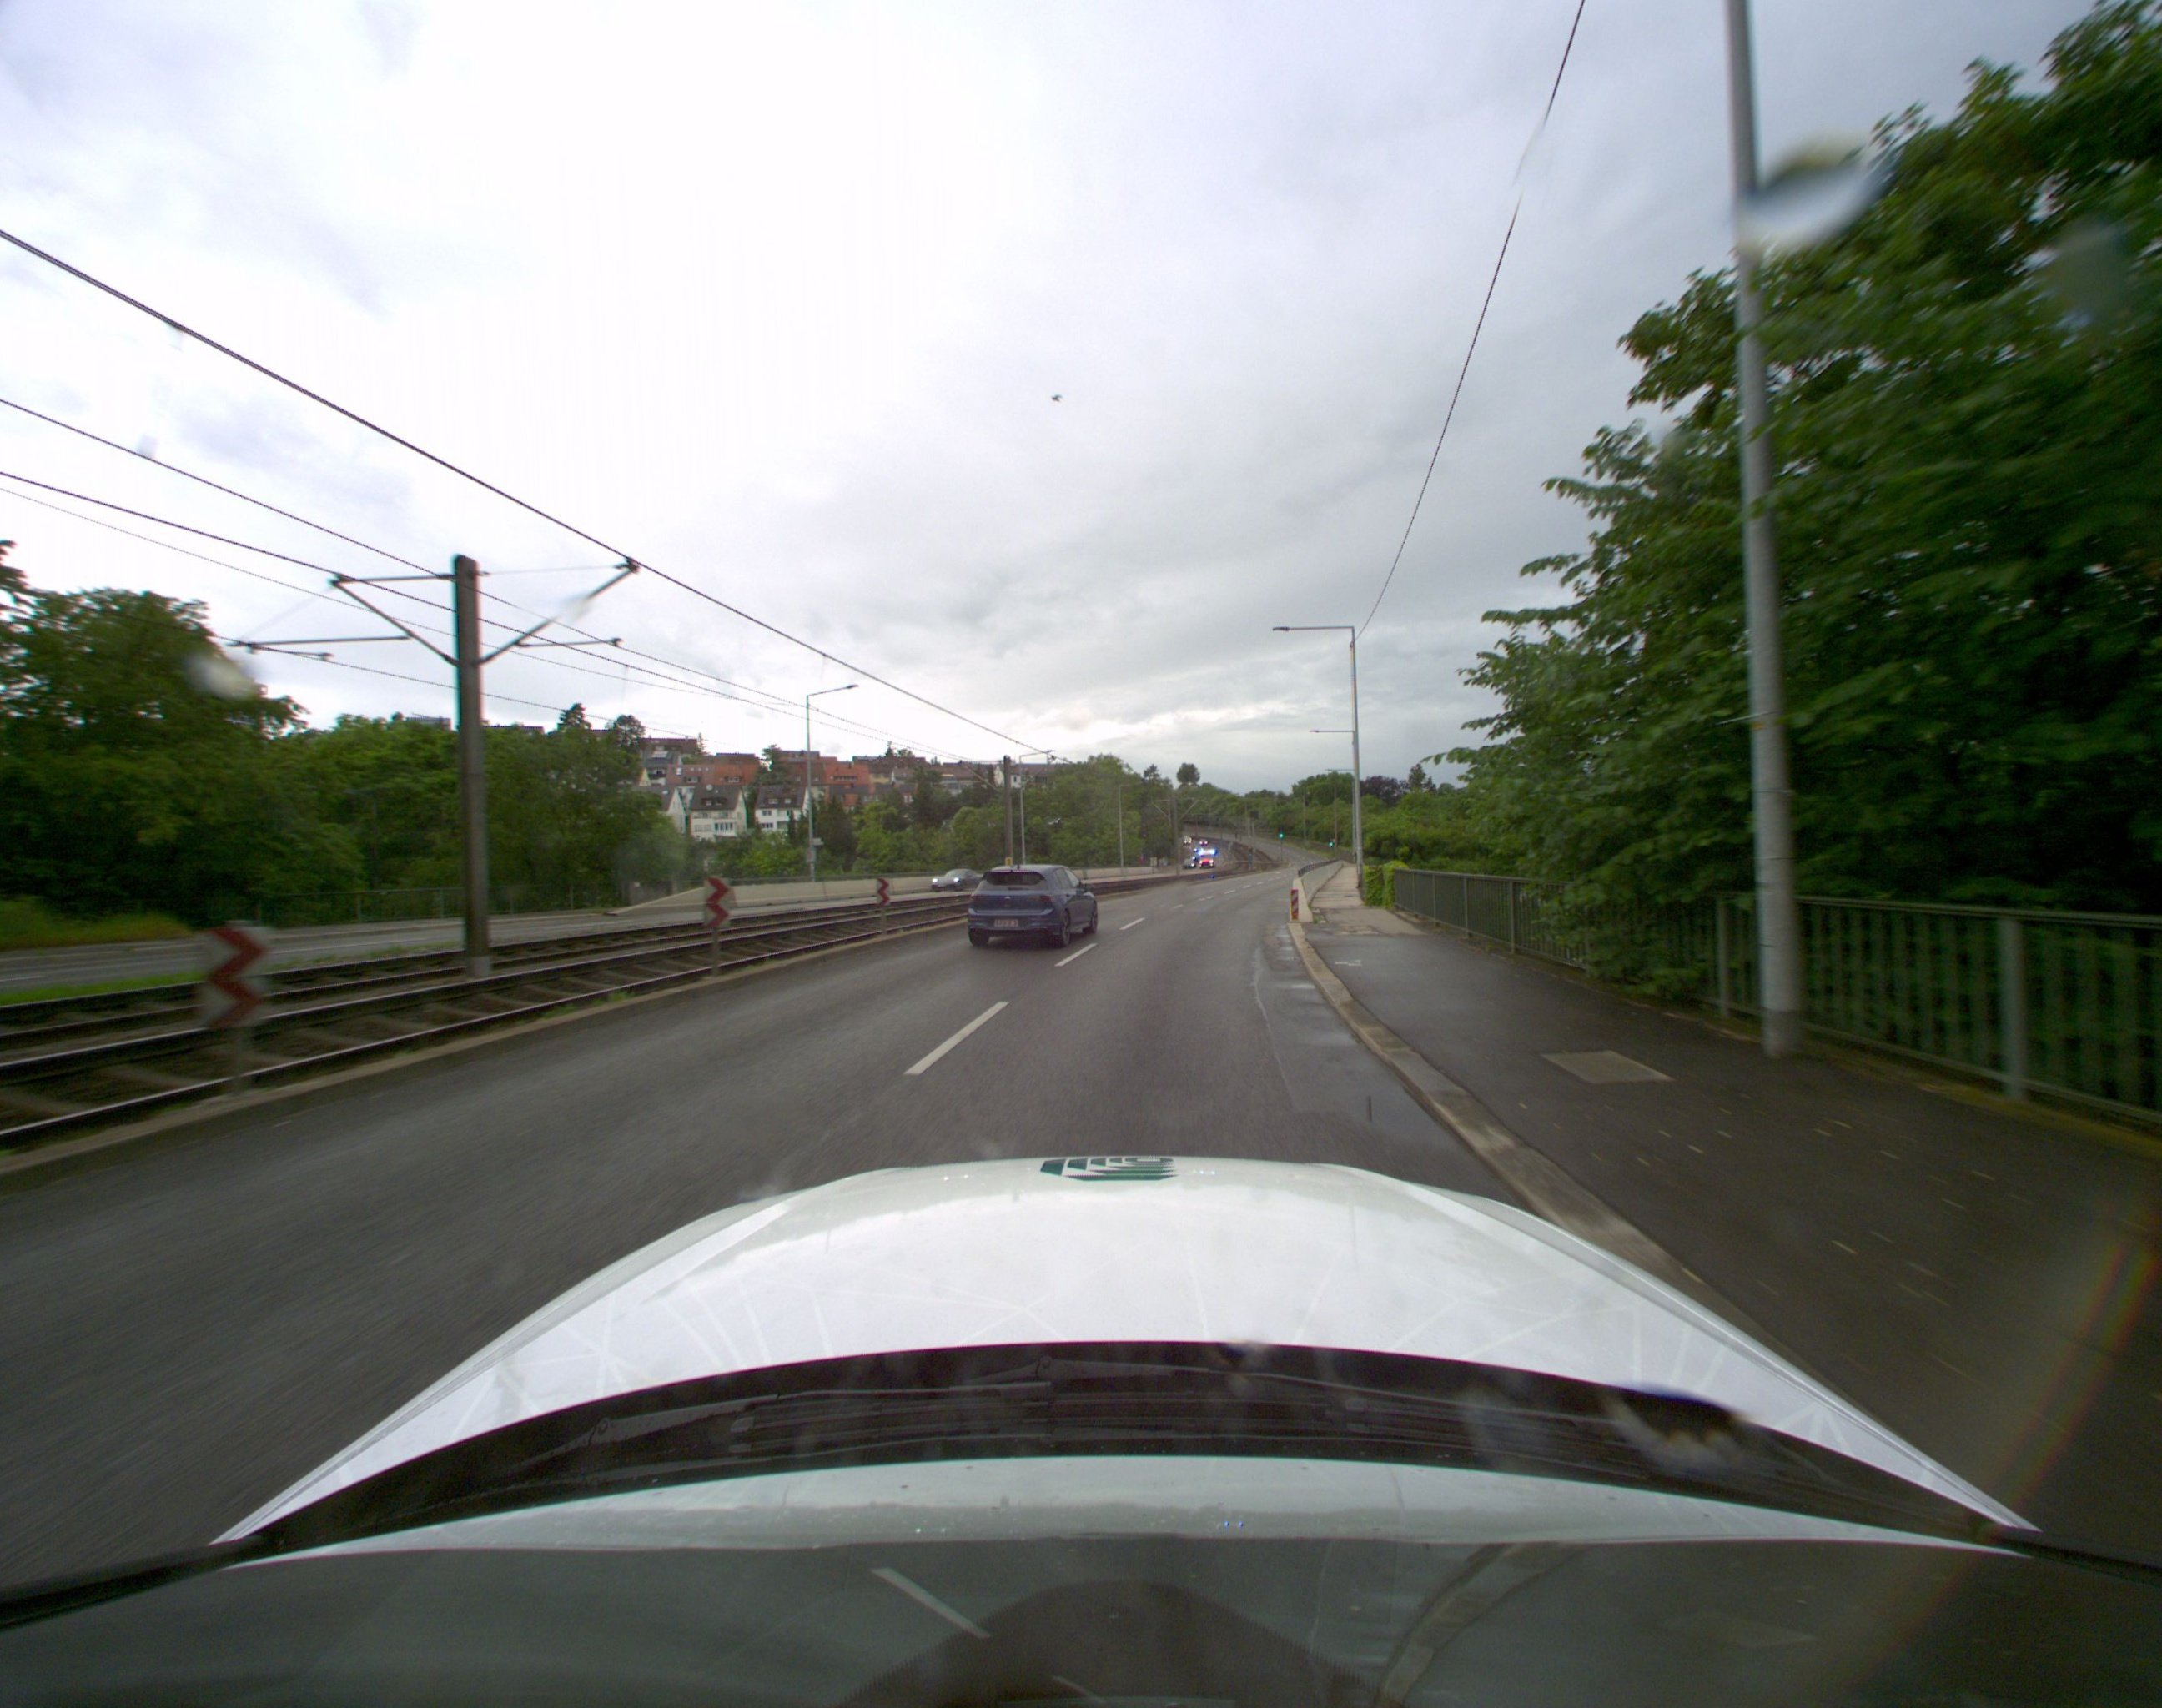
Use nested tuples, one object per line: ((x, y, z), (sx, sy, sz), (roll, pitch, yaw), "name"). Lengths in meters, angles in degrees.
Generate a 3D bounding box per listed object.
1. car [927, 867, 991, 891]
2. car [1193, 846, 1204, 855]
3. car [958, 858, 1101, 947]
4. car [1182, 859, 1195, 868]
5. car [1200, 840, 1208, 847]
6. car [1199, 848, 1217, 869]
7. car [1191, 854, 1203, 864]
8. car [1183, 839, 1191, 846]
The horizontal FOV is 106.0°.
((-7.240, 1.481, 48.768), (1.822, 1.314, 4.640), (-3, -2, 18), "car")
((24.245, -0.764, 168.467), (1.959, 1.597, 5.193), (-2, -2, 6), "car")
((-0.845, 0.846, 15.785), (1.752, 1.501, 4.012), (-1, -1, 11), "car")
((16.516, 1.443, 125.046), (1.806, 1.436, 4.750), (-2, 0, 7), "car")
((29.148, -2.420, 192.394), (1.593, 1.493, 3.021), (-3, 0, 4), "car")
((18.993, 0.711, 121.649), (2.374, 3.115, 6.375), (-1, -1, 11), "car")
((20.294, 0.912, 142.478), (1.886, 1.597, 4.740), (-3, -1, 6), "car")
((26.264, -2.898, 201.872), (1.811, 1.515, 4.538), (-2, -1, 7), "car")
